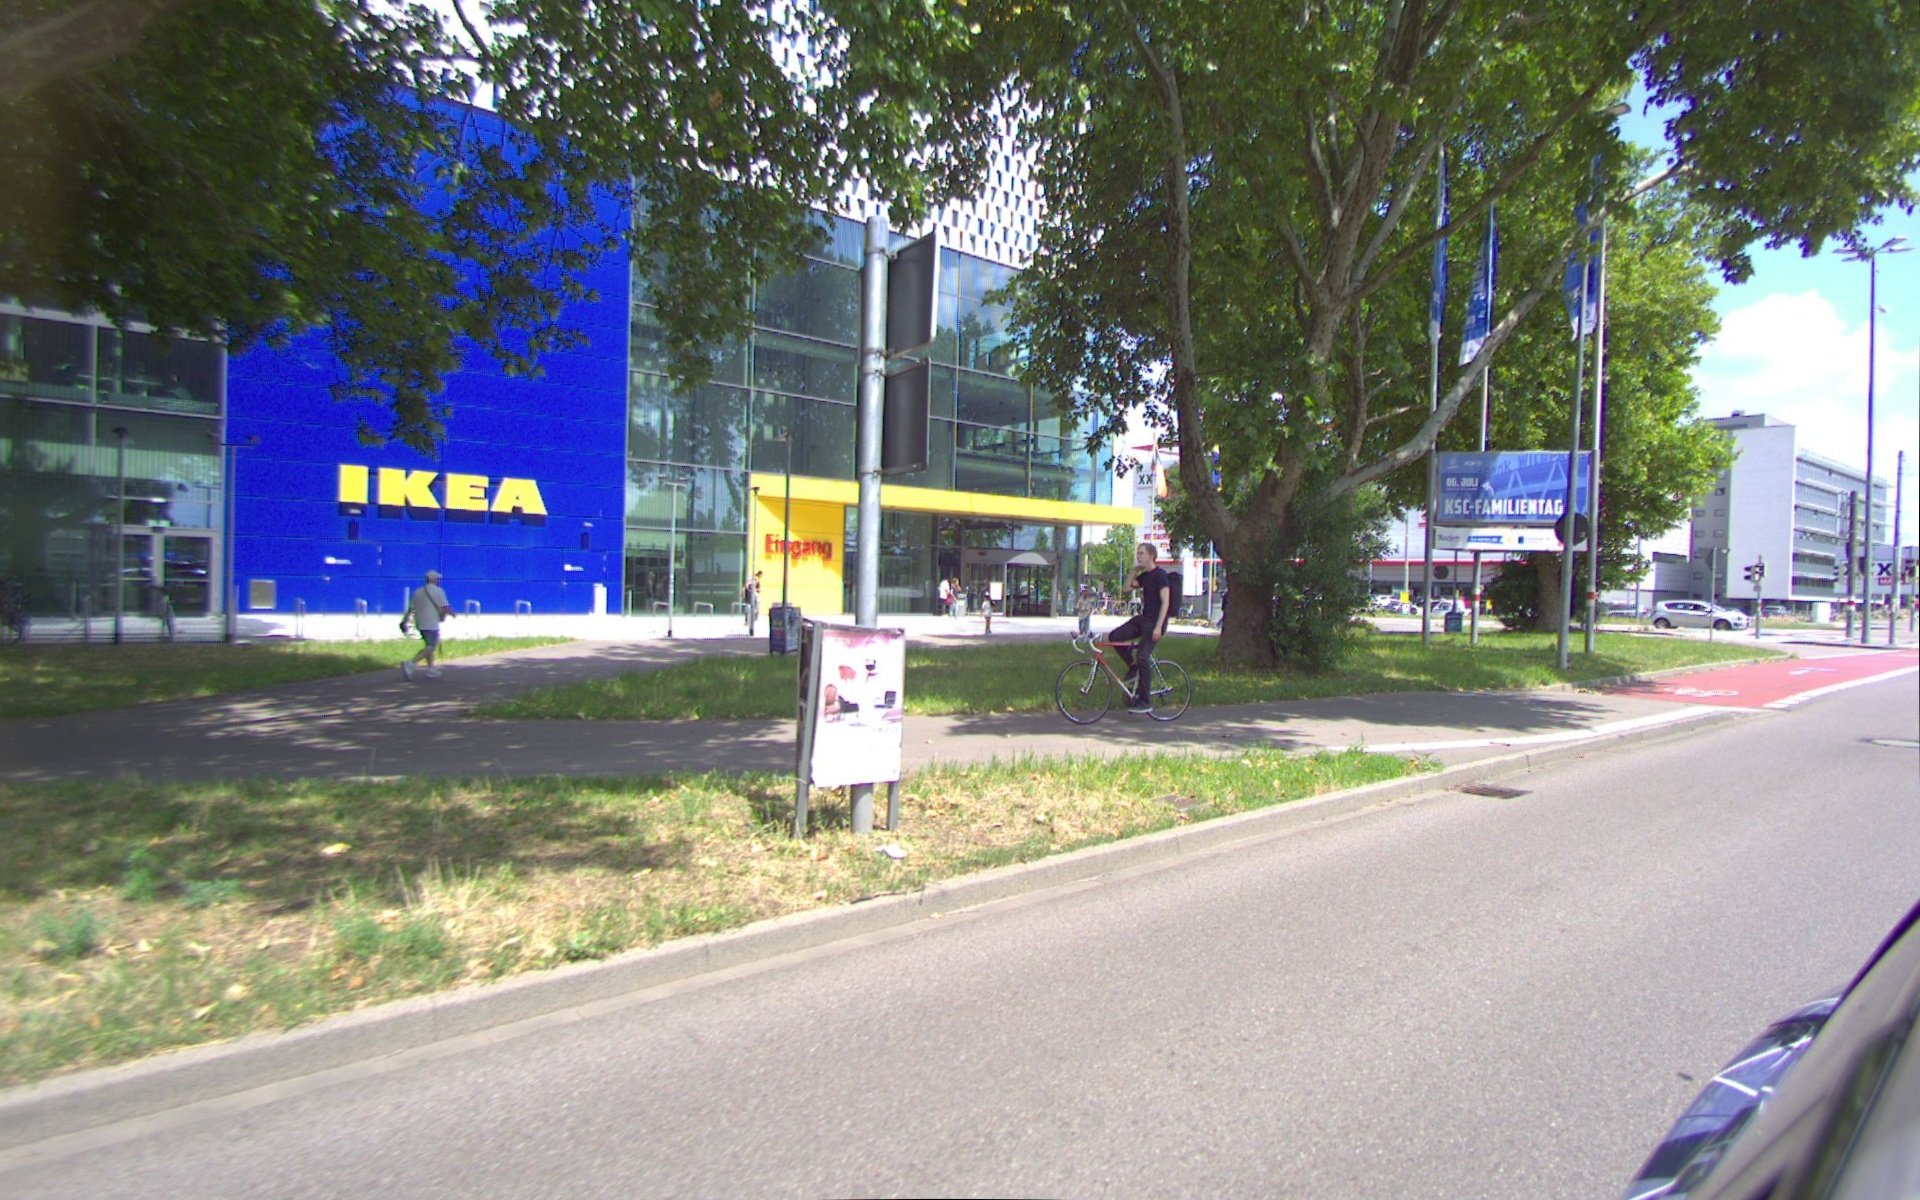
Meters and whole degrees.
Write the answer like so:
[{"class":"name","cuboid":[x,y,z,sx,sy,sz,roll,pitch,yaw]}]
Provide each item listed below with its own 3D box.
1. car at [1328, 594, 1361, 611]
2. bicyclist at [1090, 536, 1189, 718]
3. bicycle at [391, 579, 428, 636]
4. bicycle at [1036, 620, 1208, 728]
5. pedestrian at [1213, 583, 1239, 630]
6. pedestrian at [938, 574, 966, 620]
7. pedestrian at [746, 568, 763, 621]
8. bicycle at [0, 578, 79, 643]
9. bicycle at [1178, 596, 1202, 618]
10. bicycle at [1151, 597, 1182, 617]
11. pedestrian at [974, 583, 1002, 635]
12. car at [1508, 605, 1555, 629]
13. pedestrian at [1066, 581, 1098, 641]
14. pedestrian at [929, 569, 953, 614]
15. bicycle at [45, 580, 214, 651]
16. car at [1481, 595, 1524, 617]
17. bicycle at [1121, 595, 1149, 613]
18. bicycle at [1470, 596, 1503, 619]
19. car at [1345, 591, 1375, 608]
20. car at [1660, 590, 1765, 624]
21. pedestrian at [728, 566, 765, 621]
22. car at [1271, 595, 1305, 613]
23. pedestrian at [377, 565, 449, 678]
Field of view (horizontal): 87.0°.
[{"class":"car","cuboid":[49.533,0.313,130.412,4.282,2.014,1.999,1,1,-38]},{"class":"bicyclist","cuboid":[1.938,0.269,10.924,0.907,1.869,0.611,0,0,-37]},{"class":"bicycle","cuboid":[-12.900,0.150,23.669,0.680,1.190,2.530,1,2,-30]},{"class":"bicycle","cuboid":[1.754,0.746,10.774,1.986,1.012,0.621,0,0,-38]},{"class":"pedestrian","cuboid":[11.143,0.250,42.358,0.873,1.909,0.971,3,0,9]},{"class":"pedestrian","cuboid":[-0.305,-0.122,38.864,0.795,1.684,0.698,3,1,23]},{"class":"pedestrian","cuboid":[-6.712,-0.187,33.119,0.413,1.723,0.544,1,-1,0]},{"class":"bicycle","cuboid":[-18.138,0.184,19.259,0.878,1.135,2.784,1,2,-13]},{"class":"bicycle","cuboid":[11.988,0.369,52.727,0.501,1.121,1.901,4,1,35]},{"class":"bicycle","cuboid":[10.917,0.356,53.435,1.832,1.007,0.424,2,-1,-36]},{"class":"pedestrian","cuboid":[0.894,0.294,32.623,0.654,1.638,0.590,5,-5,-41]},{"class":"car","cuboid":[49.314,1.462,87.273,4.282,2.014,1.999,1,0,-38]},{"class":"pedestrian","cuboid":[3.697,0.331,30.613,0.656,1.794,0.666,1,0,-36]},{"class":"pedestrian","cuboid":[-0.799,-0.357,42.794,0.766,1.910,0.619,1,-1,-28]},{"class":"bicycle","cuboid":[-16.296,0.242,20.052,0.966,1.190,3.847,2,2,-13]},{"class":"car","cuboid":[53.228,0.540,99.283,4.513,2.014,1.999,0,2,-38]},{"class":"bicycle","cuboid":[9.558,0.224,55.282,1.835,1.007,0.464,1,0,-41]},{"class":"bicycle","cuboid":[40.584,0.548,78.017,1.001,1.697,2.048,2,0,-36]},{"class":"car","cuboid":[50.683,-0.078,128.263,3.926,2.039,1.776,1,0,-38]},{"class":"car","cuboid":[37.140,0.308,49.995,1.867,1.488,3.829,-1,3,-40]},{"class":"pedestrian","cuboid":[-6.713,-0.182,31.819,0.874,1.685,0.782,-1,-2,14]},{"class":"car","cuboid":[38.779,0.483,119.589,4.010,2.014,1.842,0,2,-38]},{"class":"pedestrian","cuboid":[-8.643,0.327,16.000,0.875,1.717,0.777,1,0,-38]}]
